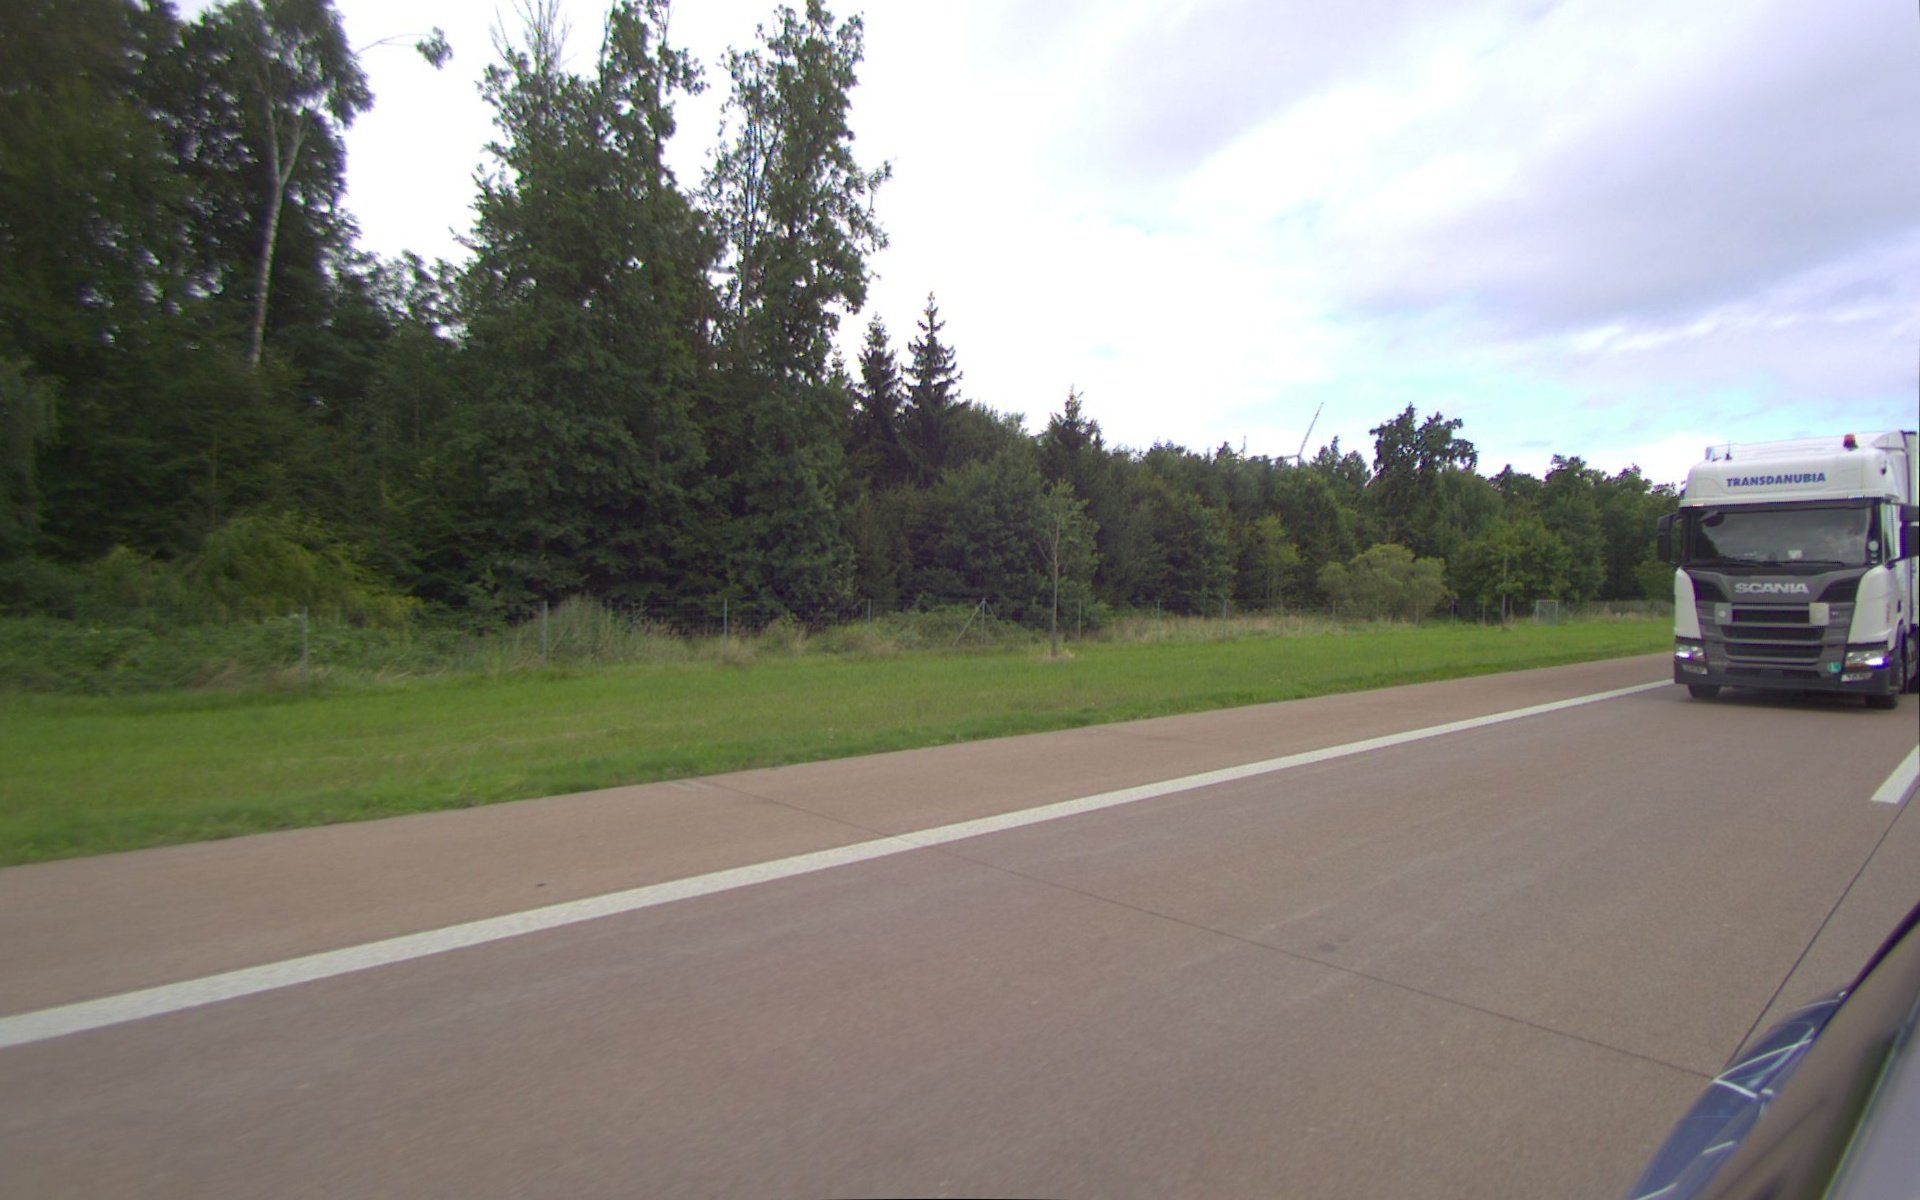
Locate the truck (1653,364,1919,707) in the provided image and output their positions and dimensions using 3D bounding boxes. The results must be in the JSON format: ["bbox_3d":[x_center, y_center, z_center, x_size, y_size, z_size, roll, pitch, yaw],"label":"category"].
[{"bbox_3d":[13.126,-0.838,15.620,5.244,4.348,2.925,0,0,-43],"label":"truck"}]

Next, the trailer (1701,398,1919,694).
[{"bbox_3d":[18.249,-0.829,20.334,13.382,4.348,2.925,0,0,-43],"label":"trailer"}]
